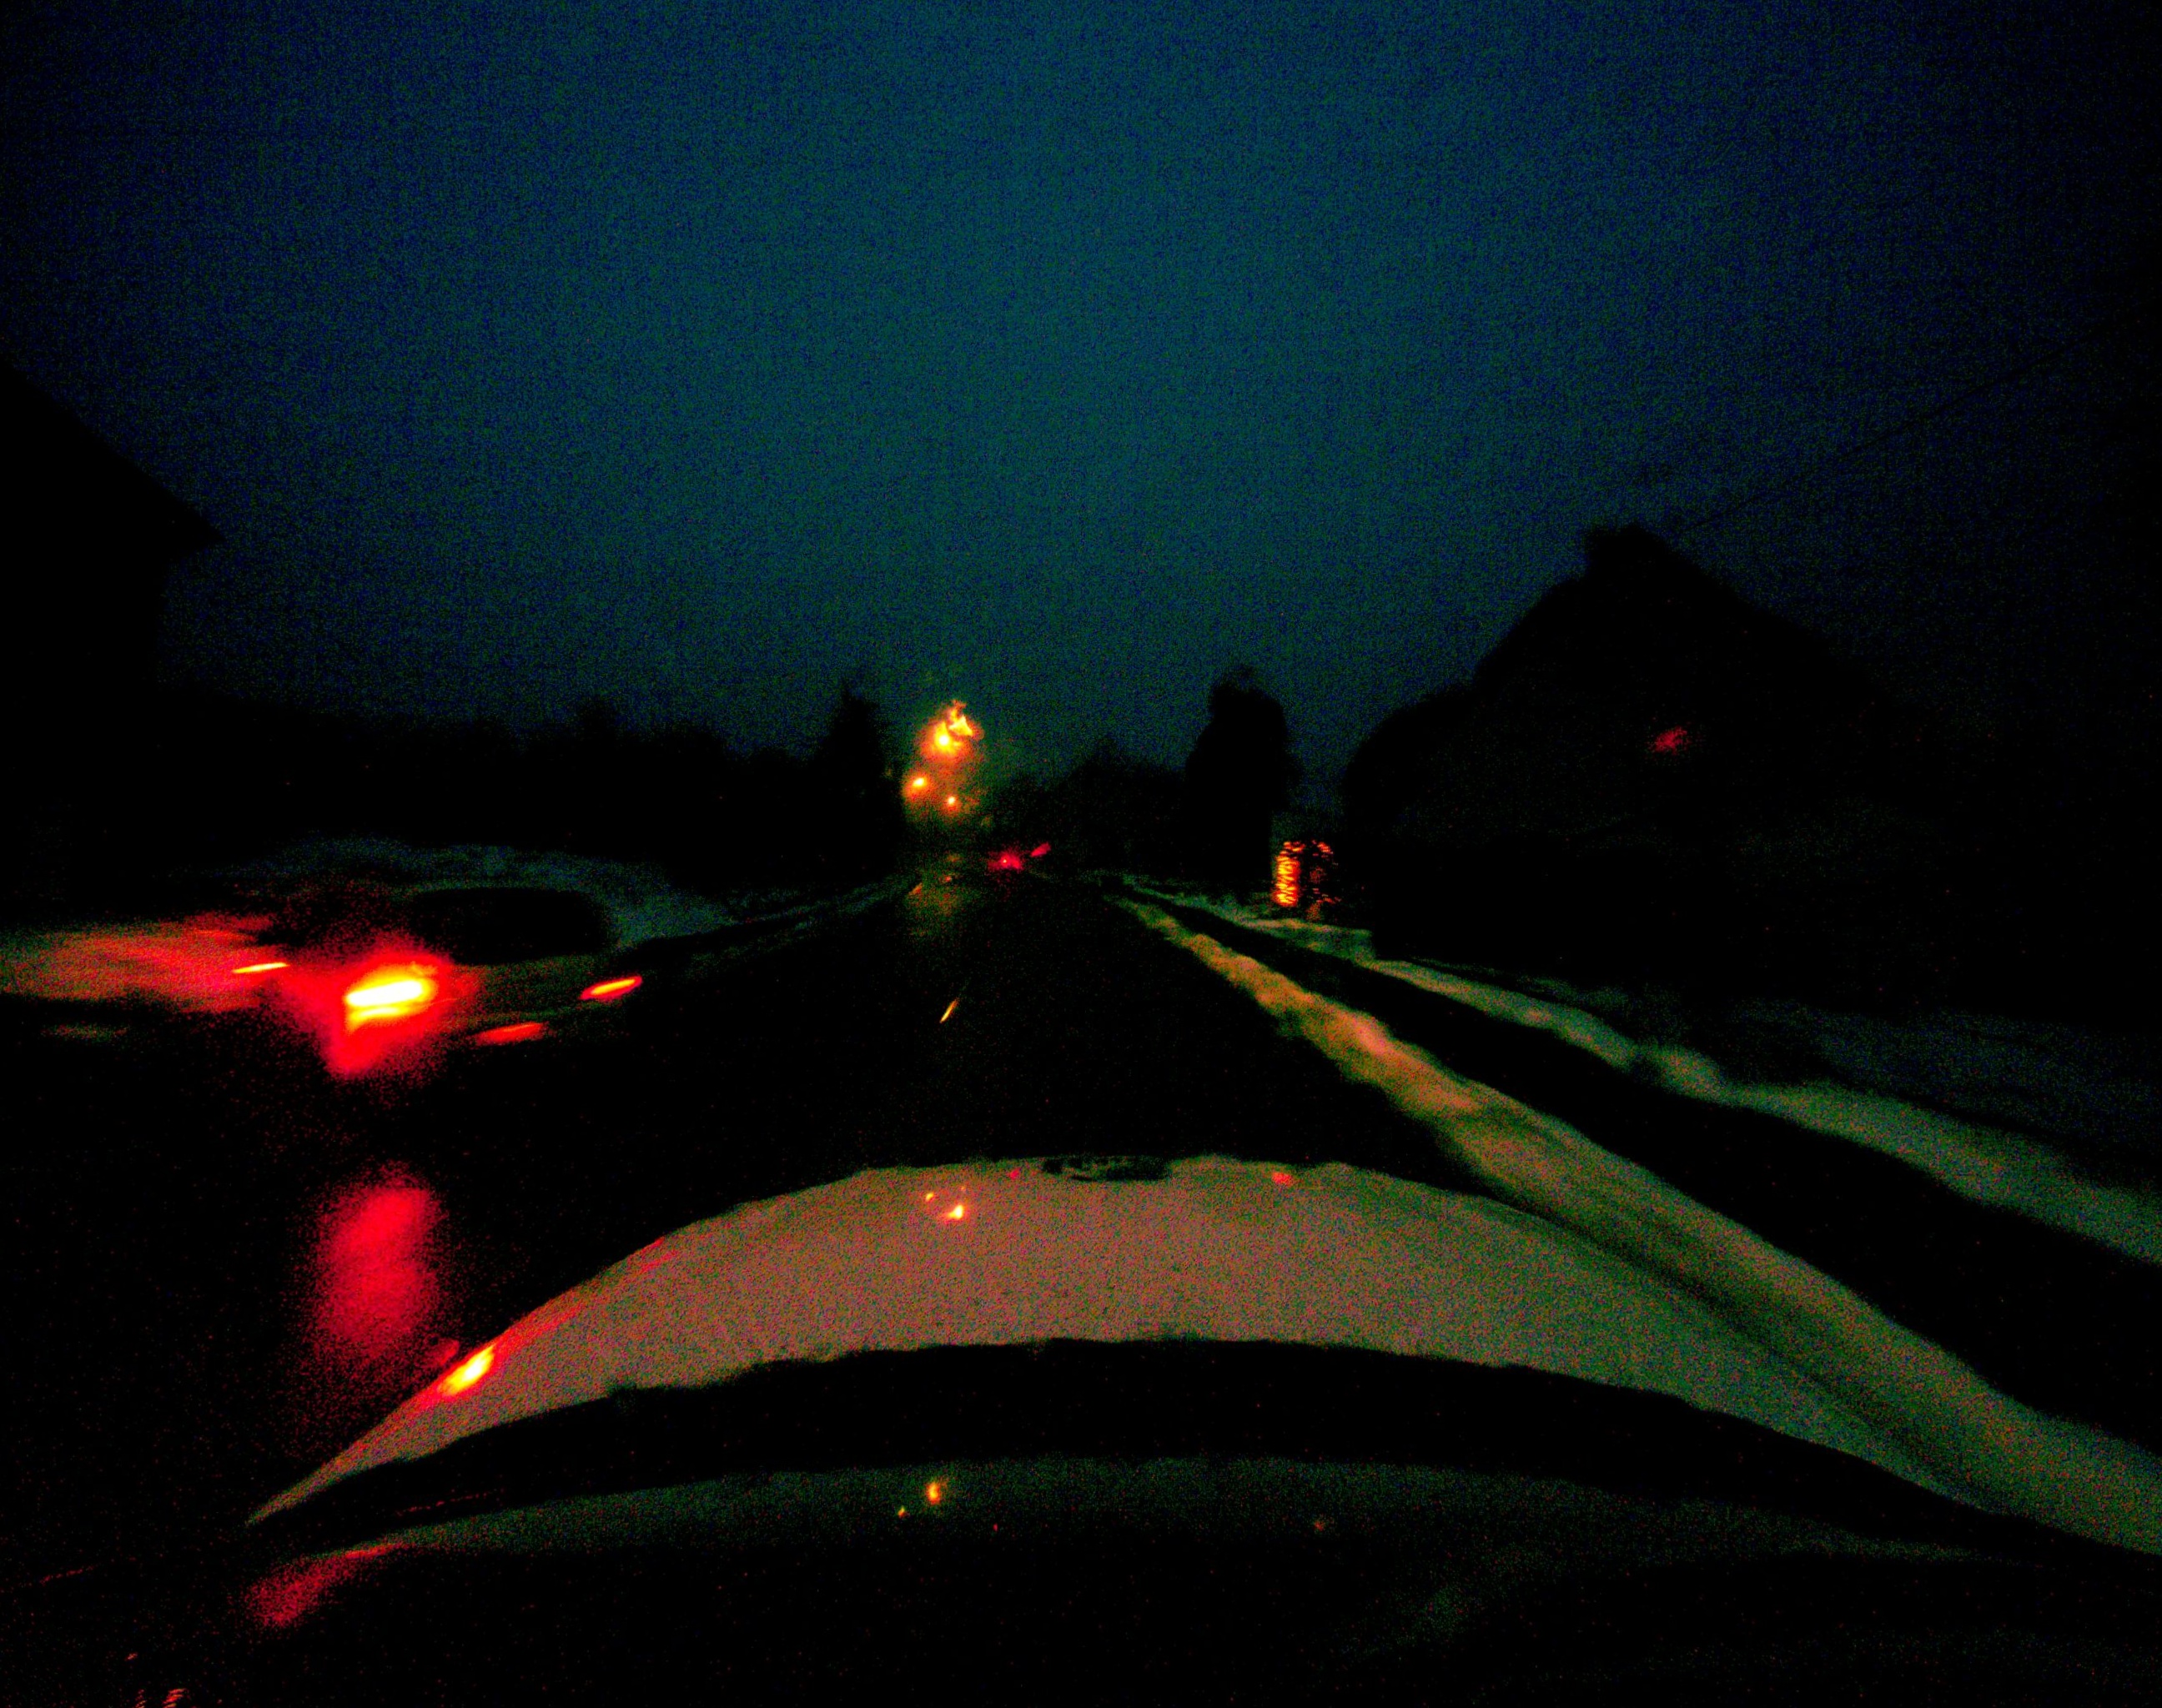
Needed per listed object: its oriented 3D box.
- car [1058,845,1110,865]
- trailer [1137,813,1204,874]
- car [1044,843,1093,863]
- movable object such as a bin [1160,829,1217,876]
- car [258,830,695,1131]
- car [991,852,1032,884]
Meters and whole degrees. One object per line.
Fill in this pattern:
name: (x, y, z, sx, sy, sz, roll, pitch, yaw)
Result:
car: (0.236, 0.092, 67.756, 4.229, 1.559, 1.999, -1, -2, 0)
trailer: (5.452, -0.604, 50.298, 2.875, 3.560, 5.045, 1, -1, -9)
car: (-1.120, -0.084, 70.606, 4.152, 1.559, 1.942, -1, -2, -5)
movable object such as a bin: (5.944, -0.069, 45.715, 2.382, 2.469, 4.510, 1, -1, -3)
car: (-4.948, 0.668, 6.465, 3.949, 1.609, 1.915, 2, 0, 41)
car: (-4.115, 0.849, 47.476, 1.994, 1.737, 3.863, -1, -2, -11)
